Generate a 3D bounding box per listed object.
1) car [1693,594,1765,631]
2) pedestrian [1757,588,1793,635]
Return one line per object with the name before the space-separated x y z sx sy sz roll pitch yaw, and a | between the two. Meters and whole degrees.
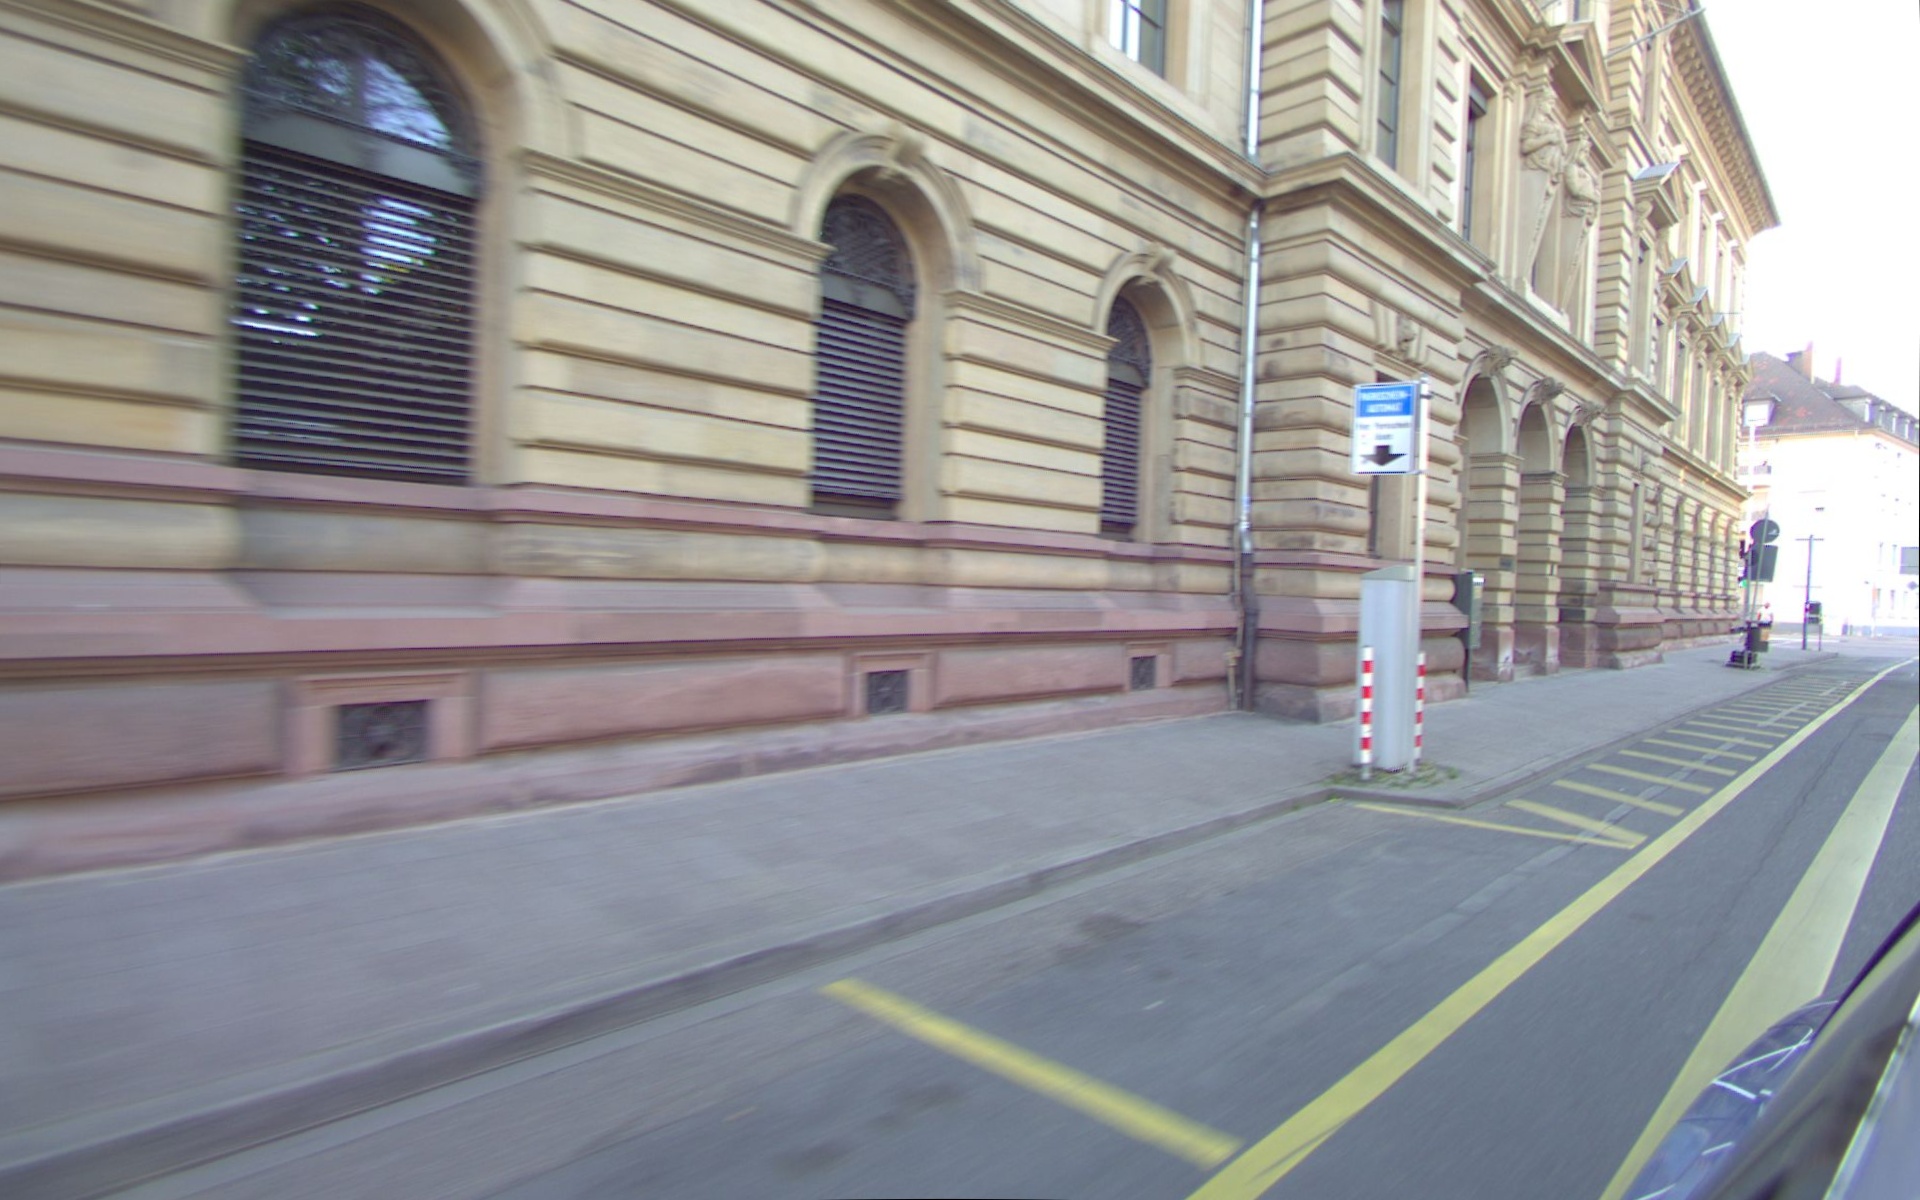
car | 40.176 0.650 52.853 4.394 1.771 1.998 1 1 -39
pedestrian | 36.215 0.509 44.977 0.973 2.039 0.789 2 0 -21
